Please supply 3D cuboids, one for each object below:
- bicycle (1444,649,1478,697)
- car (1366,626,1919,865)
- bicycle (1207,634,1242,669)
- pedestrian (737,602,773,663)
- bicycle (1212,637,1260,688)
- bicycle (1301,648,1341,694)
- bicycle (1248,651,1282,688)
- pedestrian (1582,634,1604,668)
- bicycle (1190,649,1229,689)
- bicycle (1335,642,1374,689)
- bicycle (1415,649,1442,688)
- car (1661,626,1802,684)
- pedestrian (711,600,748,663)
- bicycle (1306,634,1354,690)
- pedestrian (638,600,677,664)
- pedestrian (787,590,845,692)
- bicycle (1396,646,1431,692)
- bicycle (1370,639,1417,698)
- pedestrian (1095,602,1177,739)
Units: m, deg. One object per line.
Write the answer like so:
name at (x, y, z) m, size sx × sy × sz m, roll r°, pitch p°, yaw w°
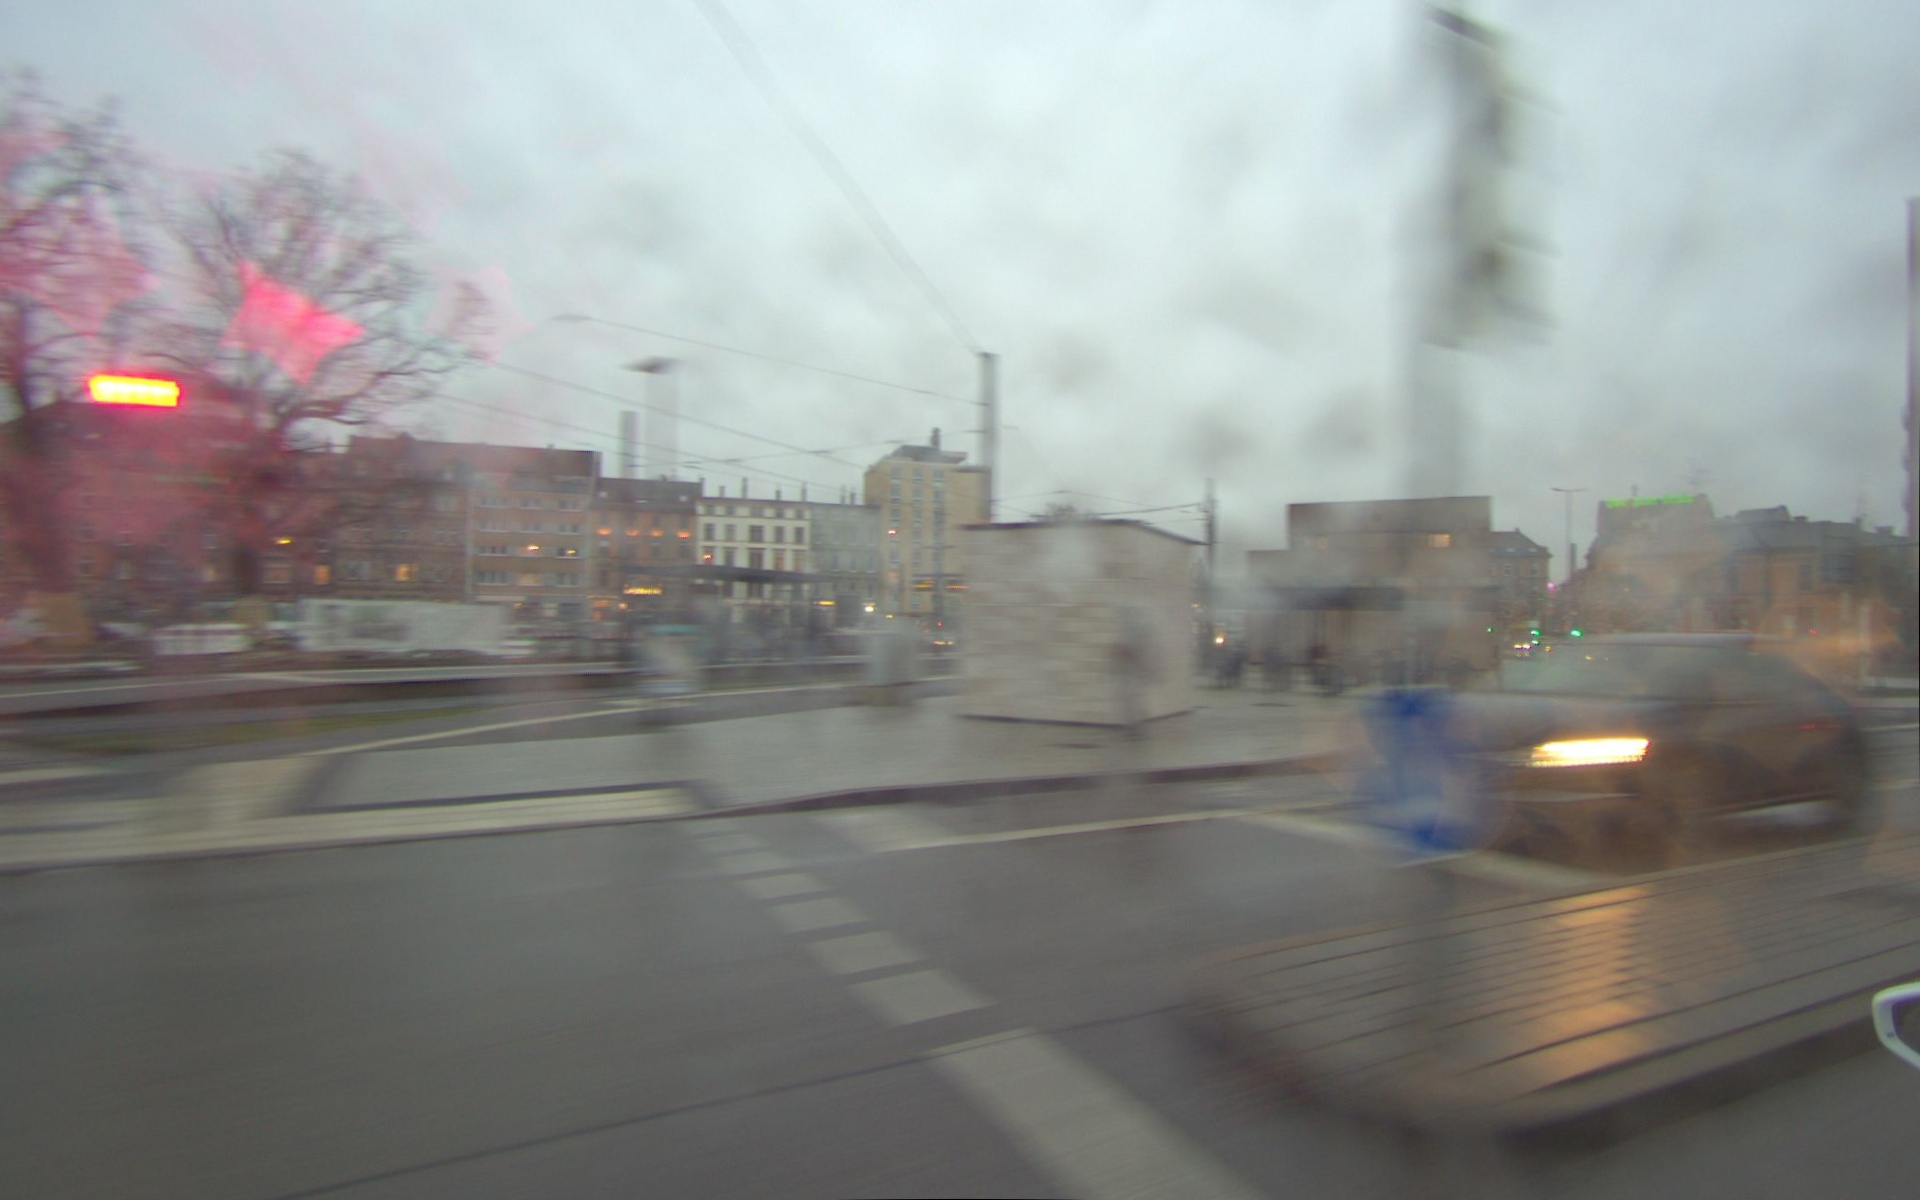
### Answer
bicycle at (13.218, 1.900, 26.476) m, size 0.541 × 1.180 × 1.894 m, roll 3°, pitch -1°, yaw 33°
car at (5.310, 0.923, 7.661) m, size 4.311 × 1.396 × 1.740 m, roll 1°, pitch -2°, yaw -28°
bicycle at (9.332, 1.814, 35.380) m, size 0.541 × 1.180 × 1.894 m, roll 3°, pitch -1°, yaw 33°
pedestrian at (-6.344, 1.011, 31.077) m, size 0.701 × 1.830 × 0.716 m, roll 2°, pitch -1°, yaw 29°
bicycle at (6.846, 1.543, 24.841) m, size 0.541 × 1.180 × 1.894 m, roll 3°, pitch -1°, yaw 33°
bicycle at (9.966, 1.946, 27.706) m, size 0.541 × 1.180 × 1.894 m, roll 3°, pitch -1°, yaw 33°
bicycle at (10.457, 2.371, 34.422) m, size 0.541 × 1.180 × 1.894 m, roll 3°, pitch -1°, yaw 33°
pedestrian at (33.290, 2.665, 52.794) m, size 0.781 × 1.719 × 0.461 m, roll 3°, pitch 0°, yaw -3°
bicycle at (7.843, 2.135, 31.525) m, size 0.541 × 1.180 × 1.894 m, roll 3°, pitch -1°, yaw 33°
bicycle at (10.649, 1.756, 27.091) m, size 0.541 × 1.180 × 1.894 m, roll 3°, pitch -1°, yaw 33°
bicycle at (15.023, 2.184, 32.190) m, size 0.541 × 1.180 × 1.895 m, roll 3°, pitch -1°, yaw 31°
car at (36.056, 2.518, 47.135) m, size 2.218 × 2.311 × 5.029 m, roll 3°, pitch -1°, yaw -10°
pedestrian at (-6.908, 0.947, 30.139) m, size 0.701 × 1.830 × 0.716 m, roll 2°, pitch -1°, yaw 29°
bicycle at (8.359, 1.382, 22.646) m, size 0.541 × 1.180 × 1.894 m, roll 3°, pitch -1°, yaw 33°
pedestrian at (-8.659, 0.902, 28.742) m, size 0.701 × 1.780 × 0.716 m, roll 2°, pitch -1°, yaw 29°
pedestrian at (-2.704, 0.761, 18.883) m, size 0.594 × 1.837 × 0.823 m, roll 3°, pitch 0°, yaw 33°
bicycle at (12.541, 1.883, 27.749) m, size 0.541 × 1.180 × 1.894 m, roll 3°, pitch -1°, yaw 33°
bicycle at (9.300, 1.448, 21.517) m, size 0.541 × 1.180 × 1.937 m, roll 3°, pitch -1°, yaw 33°
pedestrian at (2.265, 0.900, 12.980) m, size 0.720 × 1.696 × 0.671 m, roll 3°, pitch 0°, yaw -23°
